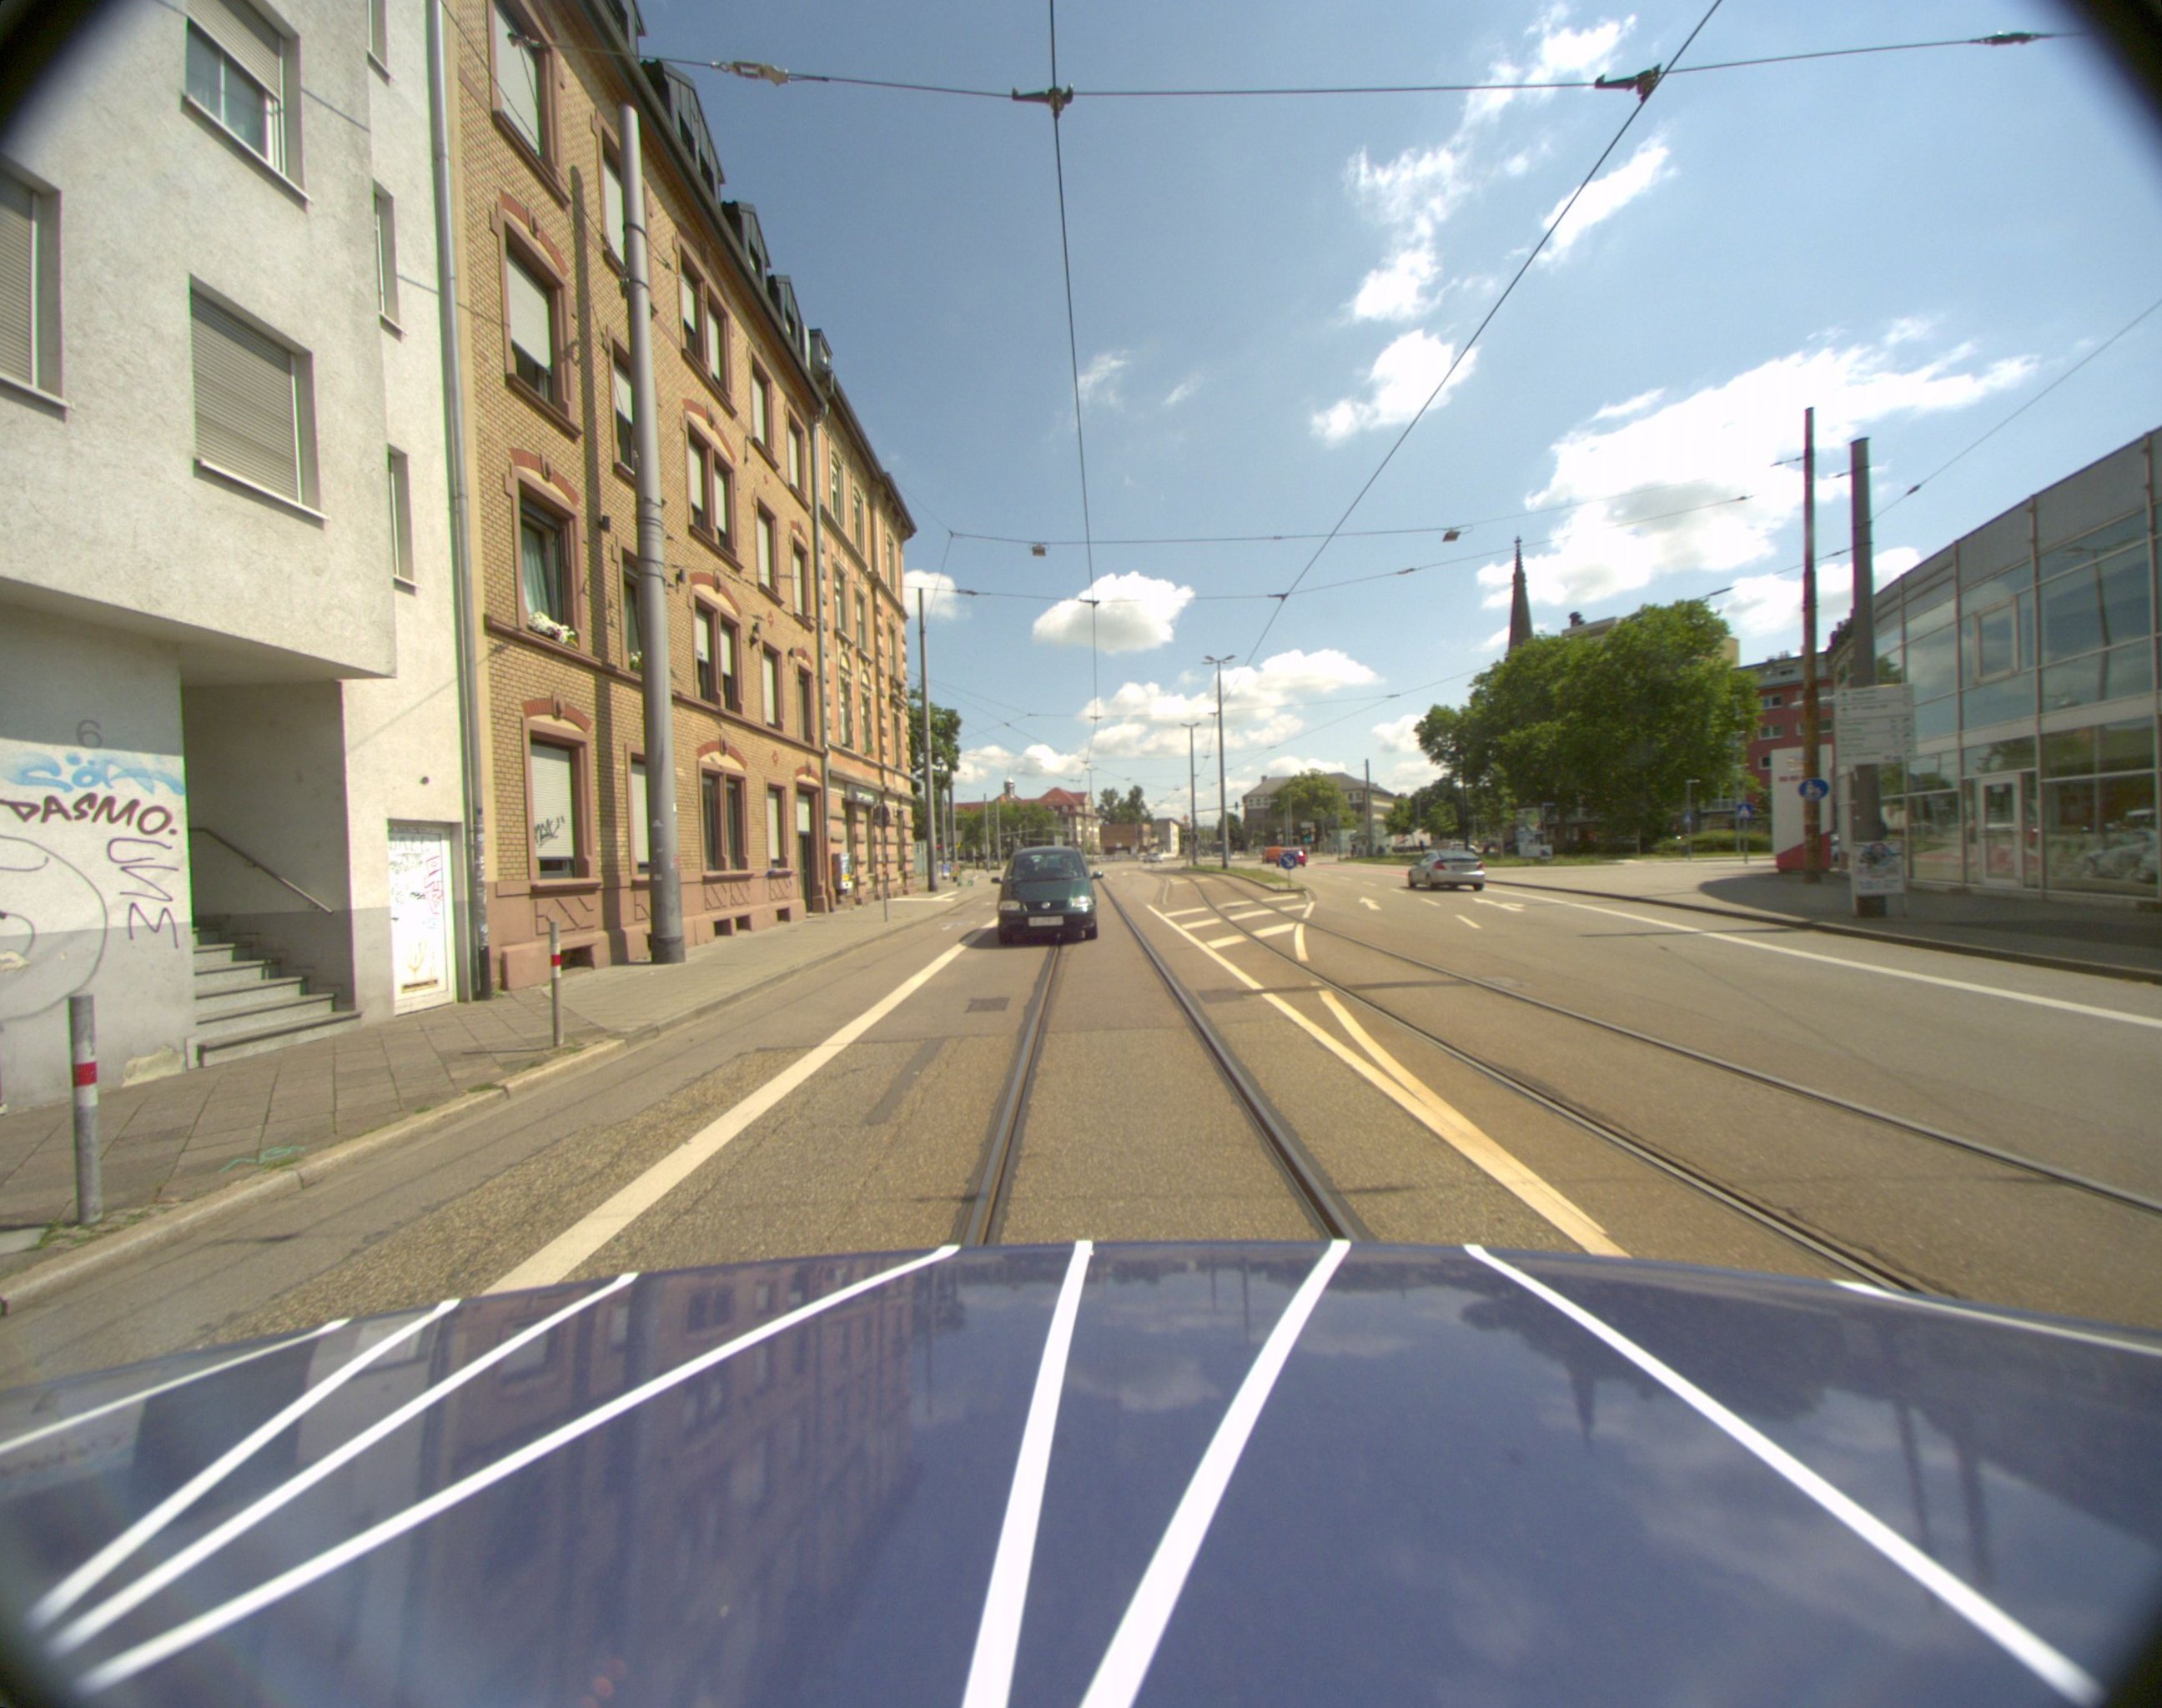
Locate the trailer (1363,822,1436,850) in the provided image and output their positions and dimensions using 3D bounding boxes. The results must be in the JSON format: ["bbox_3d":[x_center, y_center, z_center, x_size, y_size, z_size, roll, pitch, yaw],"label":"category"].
[{"bbox_3d":[49.617,-2.882,118.246,13.439,4.053,2.942,-2,1,-30],"label":"trailer"}]

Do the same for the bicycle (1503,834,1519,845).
[{"bbox_3d":[50.717,-1.732,89.631,0.494,1.161,1.599,-3,0,-30],"label":"bicycle"}]

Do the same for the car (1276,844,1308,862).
[{"bbox_3d":[17.017,-0.106,61.486,1.705,1.420,3.902,-1,0,3],"label":"car"}]

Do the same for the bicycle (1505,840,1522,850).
[{"bbox_3d":[49.071,-1.031,86.280,0.494,1.060,1.599,-3,0,-30],"label":"bicycle"}]

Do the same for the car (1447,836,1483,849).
[{"bbox_3d":[52.913,-1.546,104.774,4.164,1.633,1.631,-2,0,18],"label":"car"}]

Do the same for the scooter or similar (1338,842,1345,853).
[{"bbox_3d":[27.779,-0.702,81.091,0.462,1.193,0.549,-2,1,-1],"label":"scooter or similar"}]

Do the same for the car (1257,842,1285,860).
[{"bbox_3d":[21.092,-0.374,84.469,1.916,1.855,4.366,-2,0,-1],"label":"car"}]

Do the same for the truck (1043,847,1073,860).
[{"bbox_3d":[-5.931,-0.060,195.597,3.347,2.980,8.750,-2,0,33],"label":"truck"}]

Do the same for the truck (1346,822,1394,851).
[{"bbox_3d":[43.681,-2.695,114.761,6.888,4.095,2.957,-2,1,-30],"label":"truck"}]

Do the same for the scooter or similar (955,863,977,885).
[{"bbox_3d":[-6.457,1.133,42.800,0.949,1.173,1.086,-1,1,7],"label":"scooter or similar"}]

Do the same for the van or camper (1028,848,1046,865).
[{"bbox_3d":[-7.712,0.447,133.579,2.234,2.719,5.516,-2,0,-12],"label":"van or camper"}]

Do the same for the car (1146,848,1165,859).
[{"bbox_3d":[11.392,-0.127,116.212,1.772,1.594,4.490,-1,0,-8],"label":"car"}]

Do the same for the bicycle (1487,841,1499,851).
[{"bbox_3d":[51.597,-1.003,95.101,0.460,1.139,1.271,-2,0,-34],"label":"bicycle"}]

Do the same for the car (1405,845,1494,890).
[{"bbox_3d":[12.855,0.424,26.740,1.817,1.412,4.191,-1,1,11],"label":"car"}]

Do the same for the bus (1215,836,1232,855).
[{"bbox_3d":[27.612,-1.621,147.334,2.947,3.427,7.954,-2,0,11],"label":"bus"}]

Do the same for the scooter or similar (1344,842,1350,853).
[{"bbox_3d":[28.444,-0.677,81.193,0.416,1.118,0.556,-2,1,-1],"label":"scooter or similar"}]

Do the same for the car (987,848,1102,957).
[{"bbox_3d":[-0.599,0.802,14.730,1.819,1.707,4.085,-4,0,0],"label":"car"}]

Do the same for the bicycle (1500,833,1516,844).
[{"bbox_3d":[52.458,-1.872,93.330,0.494,1.257,1.599,-3,1,-30],"label":"bicycle"}]
